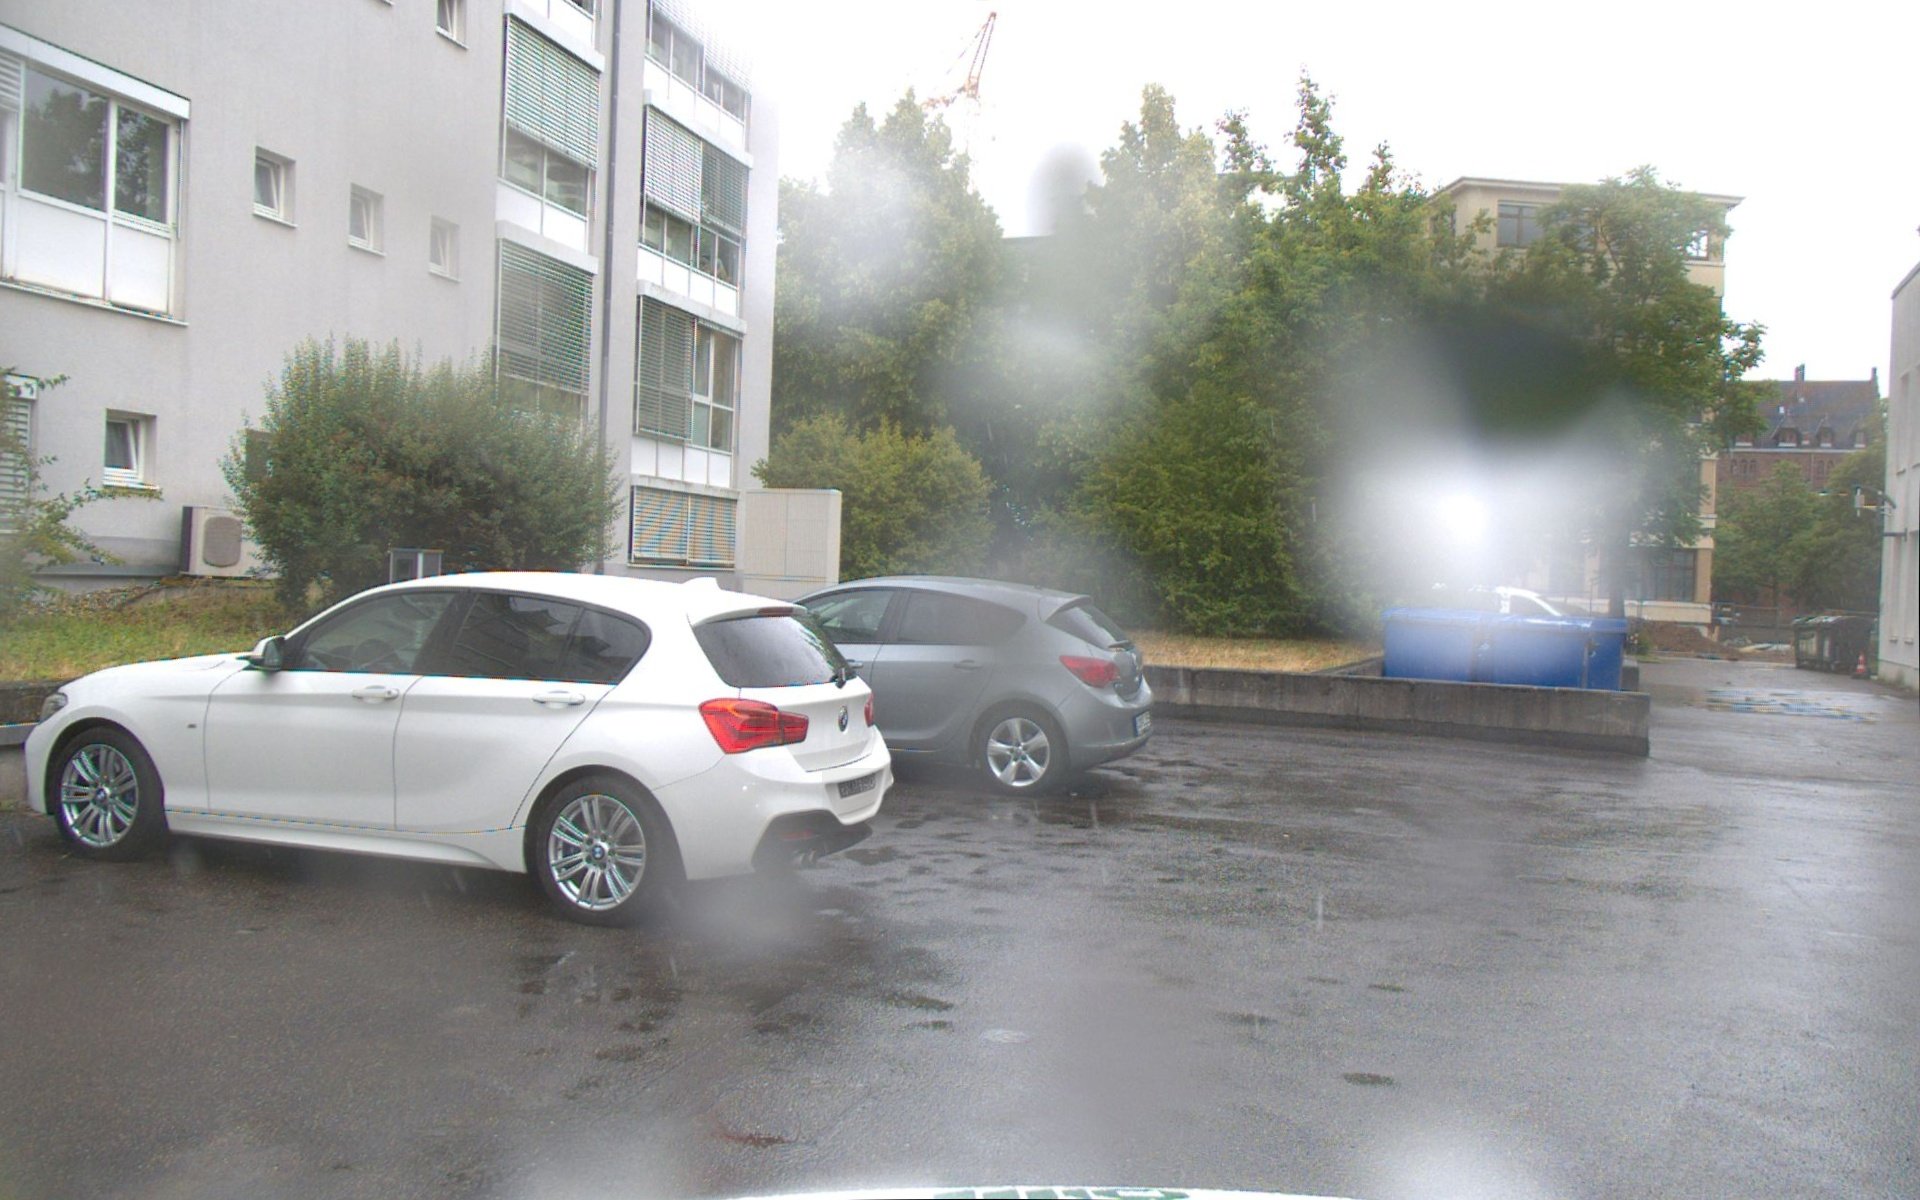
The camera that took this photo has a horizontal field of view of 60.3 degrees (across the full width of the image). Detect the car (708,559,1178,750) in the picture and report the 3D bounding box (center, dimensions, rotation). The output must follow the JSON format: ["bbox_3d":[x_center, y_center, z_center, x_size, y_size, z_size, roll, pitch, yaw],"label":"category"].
[{"bbox_3d":[-0.137,0.451,15.919,4.080,1.356,1.823,5,2,18],"label":"car"}]

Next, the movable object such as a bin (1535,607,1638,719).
[{"bbox_3d":[8.235,0.805,21.726,1.197,1.360,1.006,2,1,23],"label":"movable object such as a bin"}]

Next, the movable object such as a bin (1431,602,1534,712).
[{"bbox_3d":[6.993,0.740,22.115,1.197,1.360,1.006,2,2,23],"label":"movable object such as a bin"}]

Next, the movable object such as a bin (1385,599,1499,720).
[{"bbox_3d":[6.053,0.720,20.728,1.179,1.360,1.116,4,3,23],"label":"movable object such as a bin"}]

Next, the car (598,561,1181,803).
[{"bbox_3d":[-0.499,0.533,12.763,4.078,1.509,1.823,2,1,17],"label":"car"}]

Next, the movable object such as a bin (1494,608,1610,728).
[{"bbox_3d":[7.256,0.808,20.251,1.179,1.360,1.115,2,0,26],"label":"movable object such as a bin"}]

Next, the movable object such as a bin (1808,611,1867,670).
[{"bbox_3d":[23.352,1.085,44.036,1.190,1.462,1.294,3,-2,20],"label":"movable object such as a bin"}]

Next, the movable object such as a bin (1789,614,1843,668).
[{"bbox_3d":[24.897,1.197,48.141,1.190,1.462,1.259,3,-2,20],"label":"movable object such as a bin"}]

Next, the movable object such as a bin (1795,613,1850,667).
[{"bbox_3d":[24.414,1.138,46.850,1.190,1.462,1.259,3,-2,20],"label":"movable object such as a bin"}]

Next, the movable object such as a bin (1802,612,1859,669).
[{"bbox_3d":[23.965,1.116,45.547,1.190,1.494,1.236,3,-2,20],"label":"movable object such as a bin"}]

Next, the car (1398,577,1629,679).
[{"bbox_3d":[12.310,0.571,36.797,4.684,2.049,1.999,2,1,23],"label":"car"}]

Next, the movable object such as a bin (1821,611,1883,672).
[{"bbox_3d":[22.852,1.069,42.411,1.190,1.462,1.236,3,-2,20],"label":"movable object such as a bin"}]

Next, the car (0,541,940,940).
[{"bbox_3d":[-2.314,0.542,7.997,4.052,1.458,1.754,2,0,17],"label":"car"}]
